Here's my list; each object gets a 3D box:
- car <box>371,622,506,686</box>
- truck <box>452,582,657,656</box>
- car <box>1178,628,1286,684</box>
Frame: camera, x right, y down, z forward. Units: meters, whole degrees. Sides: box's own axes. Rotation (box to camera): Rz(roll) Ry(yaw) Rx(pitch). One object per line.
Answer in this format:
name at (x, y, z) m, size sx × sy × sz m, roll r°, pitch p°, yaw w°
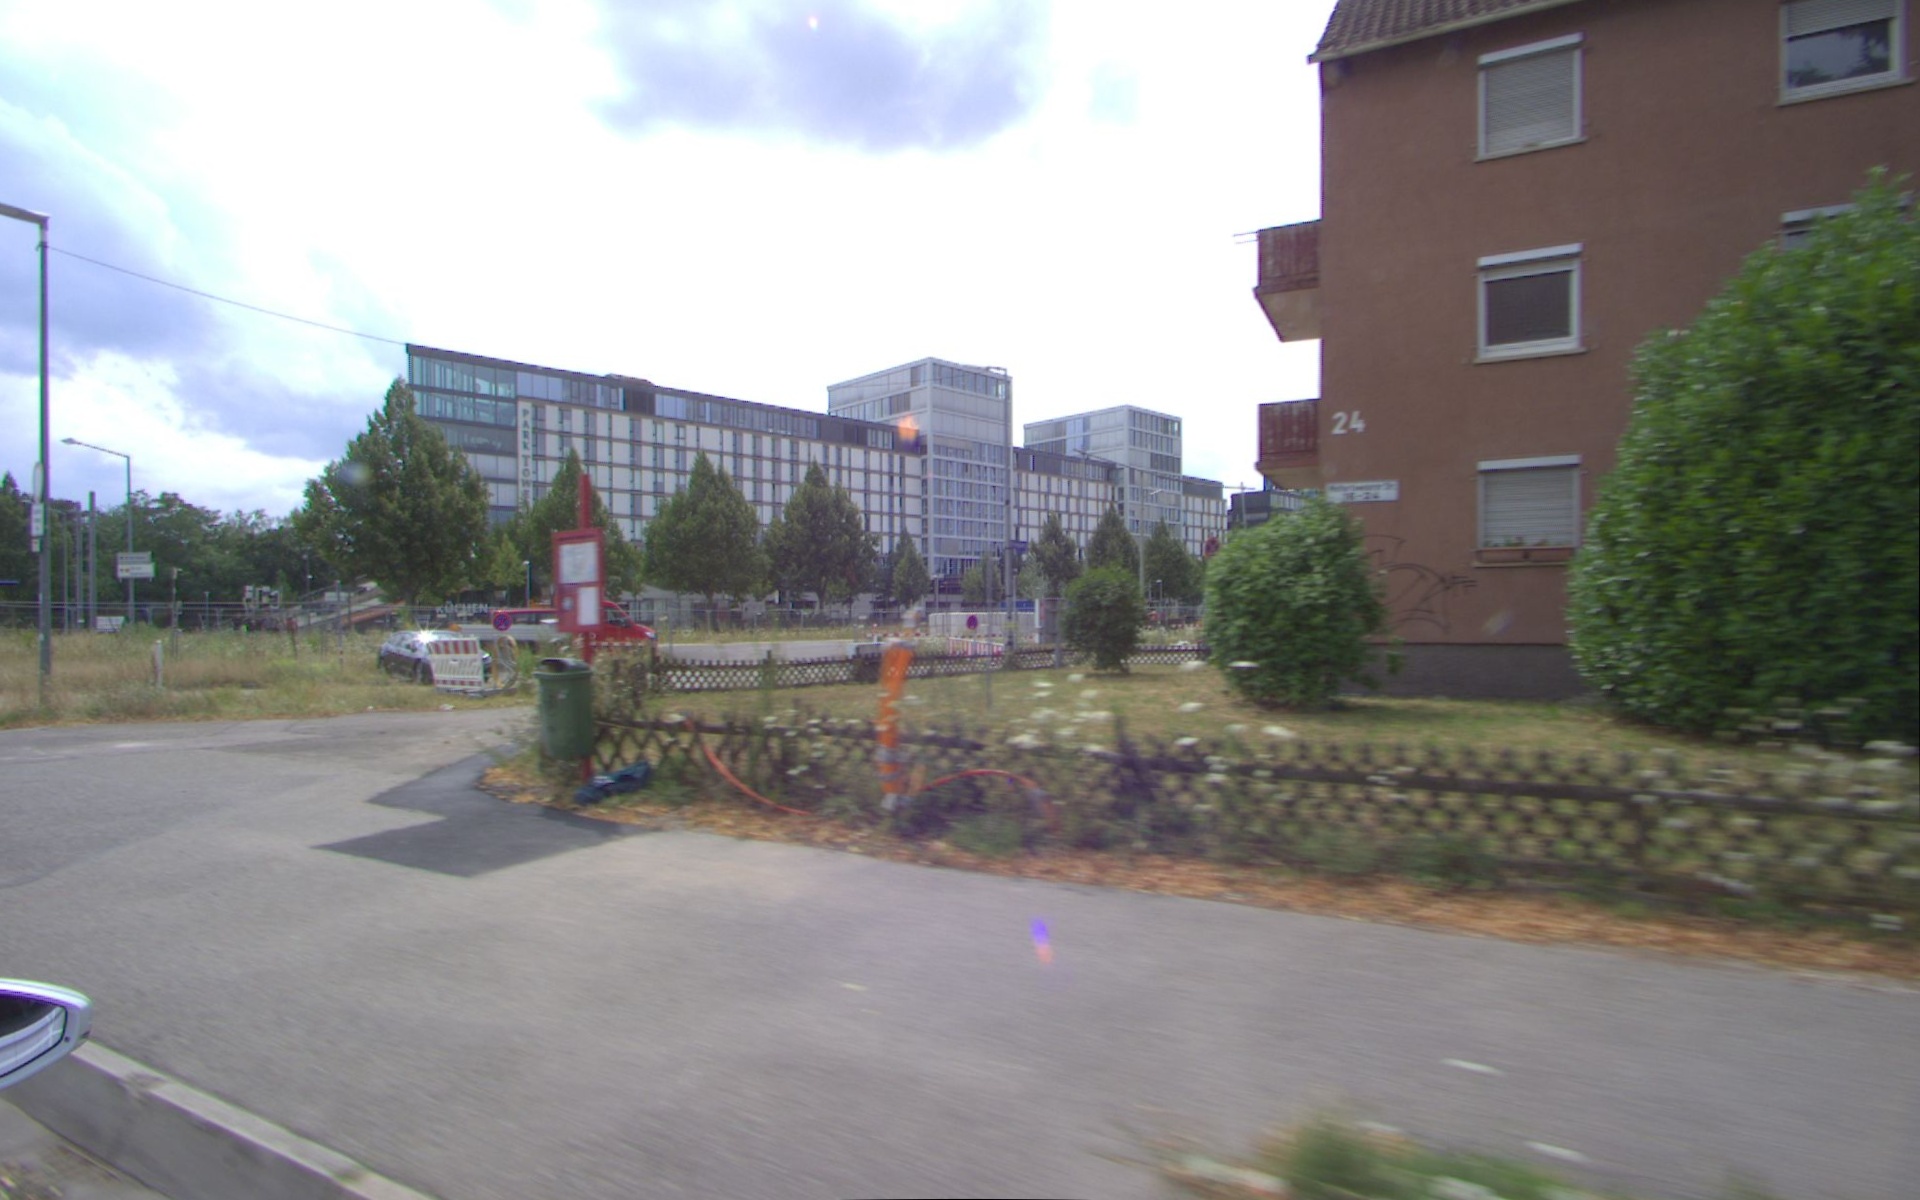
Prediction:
car at (-14.423, 1.419, 27.610) m, size 4.285 × 1.517 × 1.842 m, roll 0°, pitch 1°, yaw 41°
truck at (-14.664, 0.696, 36.366) m, size 6.593 × 2.458 × 2.519 m, roll 1°, pitch -1°, yaw -33°
car at (9.403, 1.904, 34.473) m, size 3.803 × 1.705 × 1.812 m, roll -1°, pitch -2°, yaw -43°
